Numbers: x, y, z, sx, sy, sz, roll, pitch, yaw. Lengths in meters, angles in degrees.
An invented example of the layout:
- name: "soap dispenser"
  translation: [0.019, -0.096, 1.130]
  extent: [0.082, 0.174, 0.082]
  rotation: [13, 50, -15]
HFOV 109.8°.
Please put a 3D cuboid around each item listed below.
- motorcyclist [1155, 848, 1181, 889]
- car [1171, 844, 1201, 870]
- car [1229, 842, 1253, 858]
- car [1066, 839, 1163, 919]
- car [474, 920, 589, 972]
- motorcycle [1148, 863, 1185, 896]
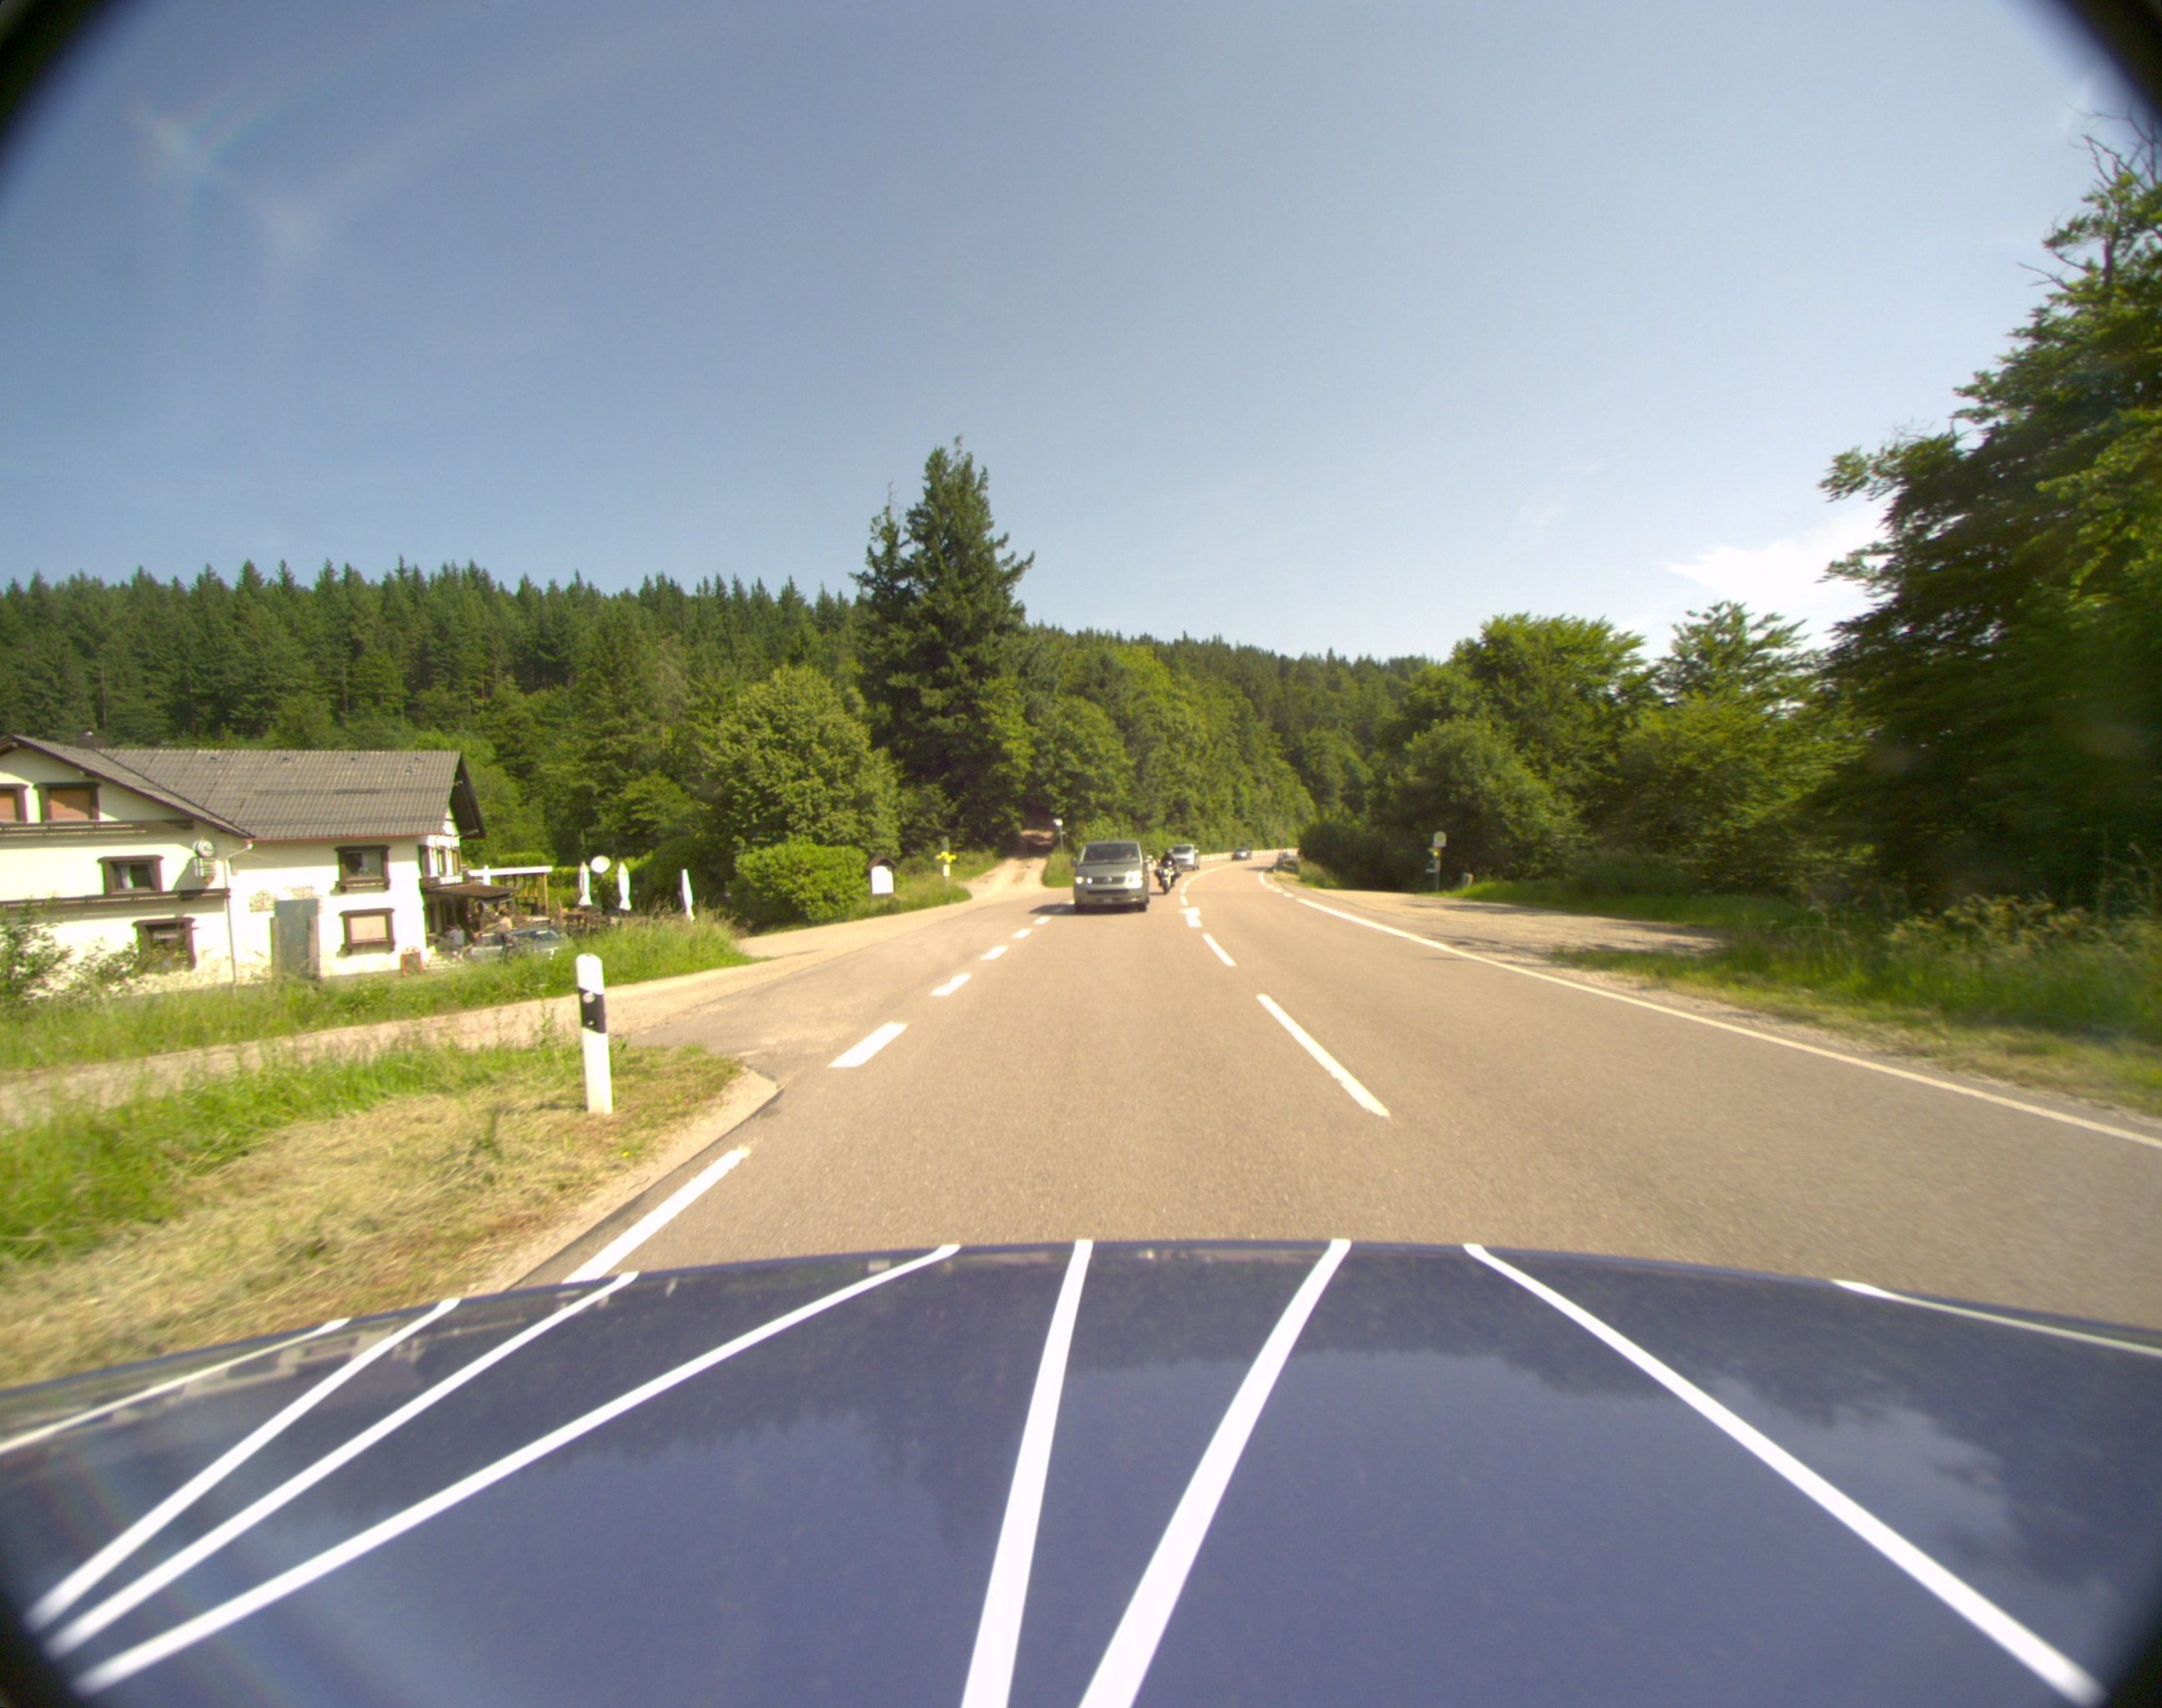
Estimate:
- name: "motorcyclist"
  translation: [3.189, 0.513, 27.820]
  extent: [0.716, 1.421, 1.000]
  rotation: [-4, 0, 14]
- name: "car"
  translation: [7.606, 0.188, 54.863]
  extent: [1.651, 1.749, 3.798]
  rotation: [-1, 1, 15]
- name: "car"
  translation: [17.849, -0.456, 84.707]
  extent: [1.996, 1.633, 4.005]
  rotation: [-3, 0, 19]
- name: "car"
  translation: [1.081, 0.596, 21.360]
  extent: [2.028, 1.940, 4.902]
  rotation: [-2, 0, 10]
- name: "car"
  translation: [-22.277, 3.720, 30.794]
  extent: [4.468, 1.614, 1.980]
  rotation: [-4, 5, 31]
- name: "motorcycle"
  translation: [3.147, 0.915, 27.792]
  extent: [1.108, 1.117, 1.962]
  rotation: [-2, 1, 12]
